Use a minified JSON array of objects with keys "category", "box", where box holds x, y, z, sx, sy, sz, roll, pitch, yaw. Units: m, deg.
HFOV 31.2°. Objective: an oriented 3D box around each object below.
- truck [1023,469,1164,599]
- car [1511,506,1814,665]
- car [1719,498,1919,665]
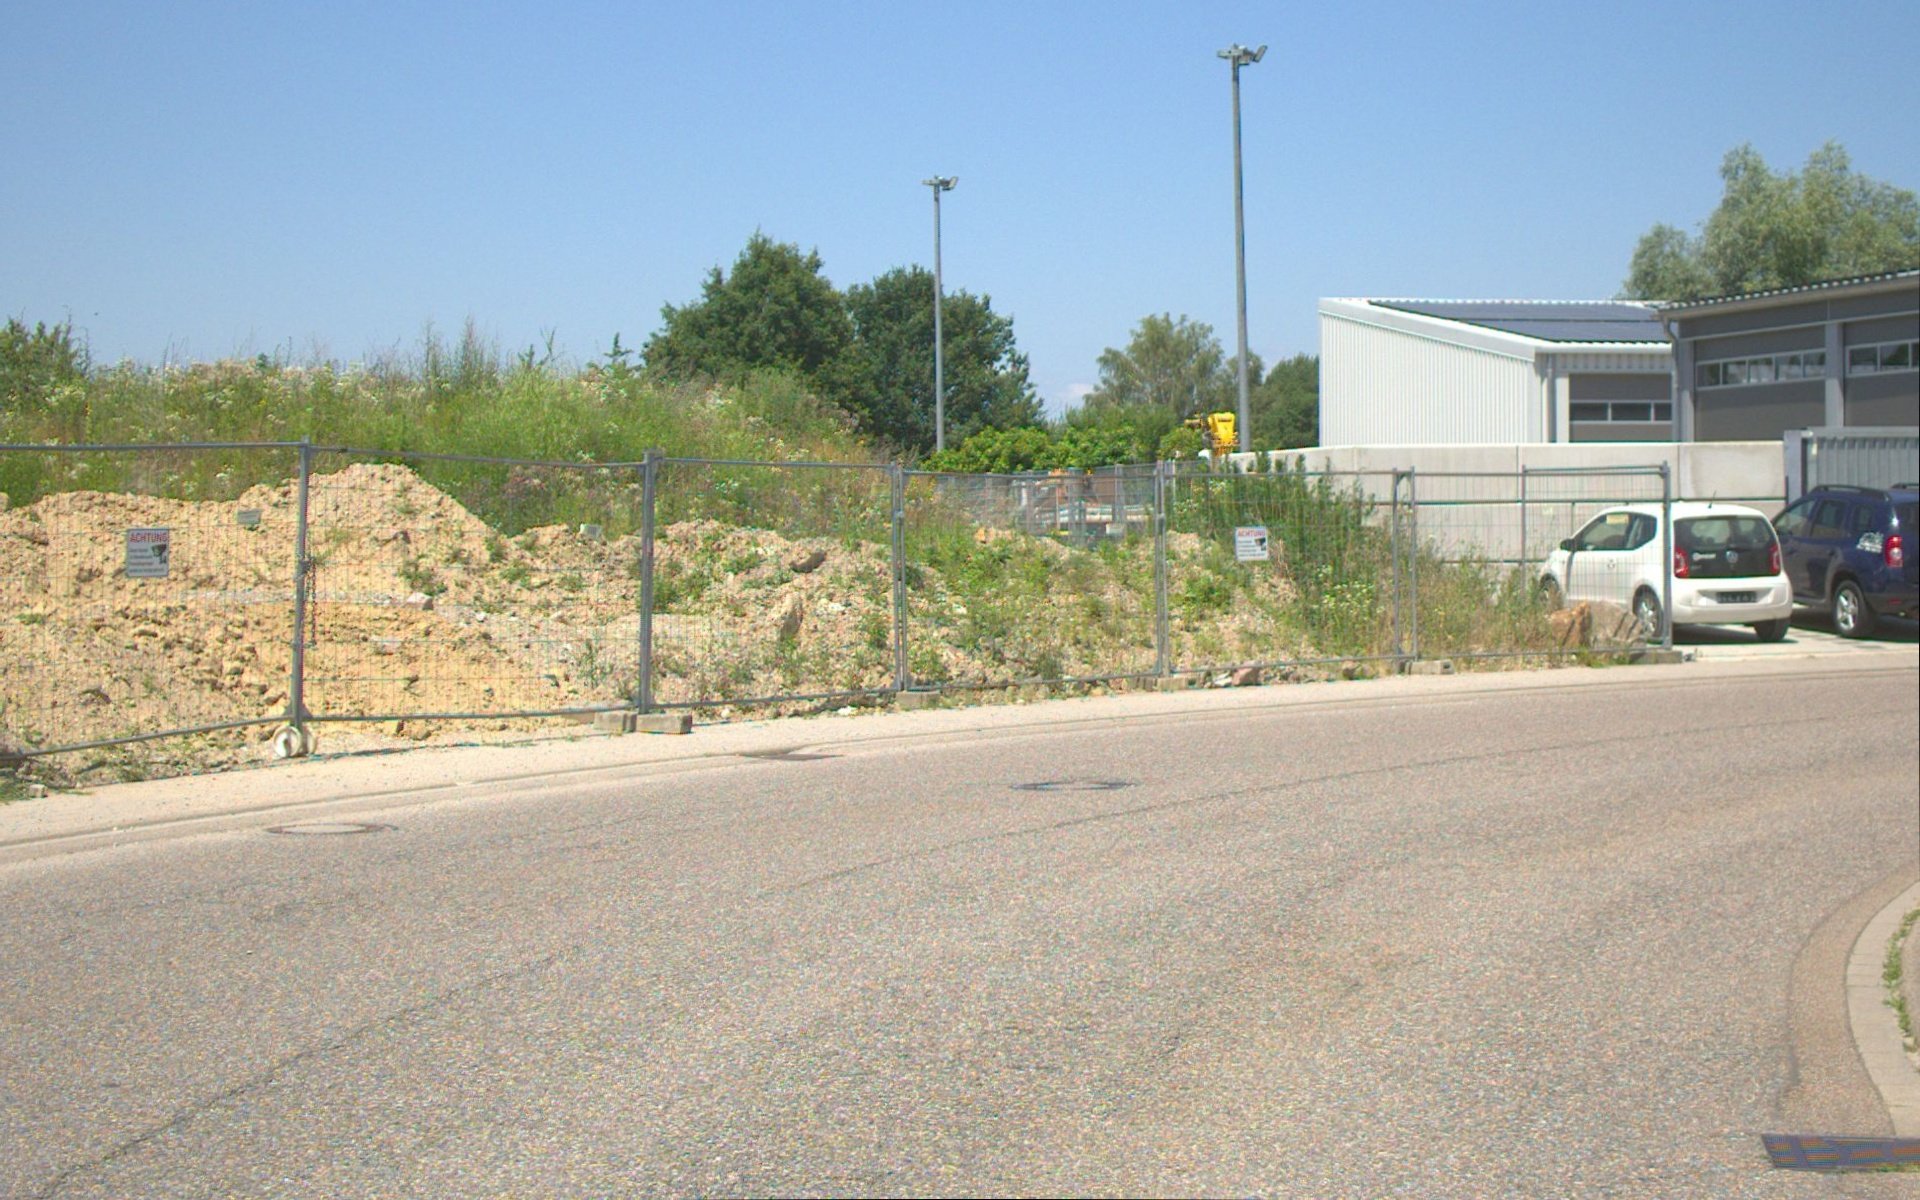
[{"category":"truck","box":[3.144,-1.560,82.061,1.993,2.974,4.647,-2,1,-15]},{"category":"car","box":[7.801,-0.210,38.502,1.782,1.493,3.705,-2,4,-16]},{"category":"car","box":[10.294,-0.260,38.805,1.794,1.603,3.705,-2,4,-16]}]
